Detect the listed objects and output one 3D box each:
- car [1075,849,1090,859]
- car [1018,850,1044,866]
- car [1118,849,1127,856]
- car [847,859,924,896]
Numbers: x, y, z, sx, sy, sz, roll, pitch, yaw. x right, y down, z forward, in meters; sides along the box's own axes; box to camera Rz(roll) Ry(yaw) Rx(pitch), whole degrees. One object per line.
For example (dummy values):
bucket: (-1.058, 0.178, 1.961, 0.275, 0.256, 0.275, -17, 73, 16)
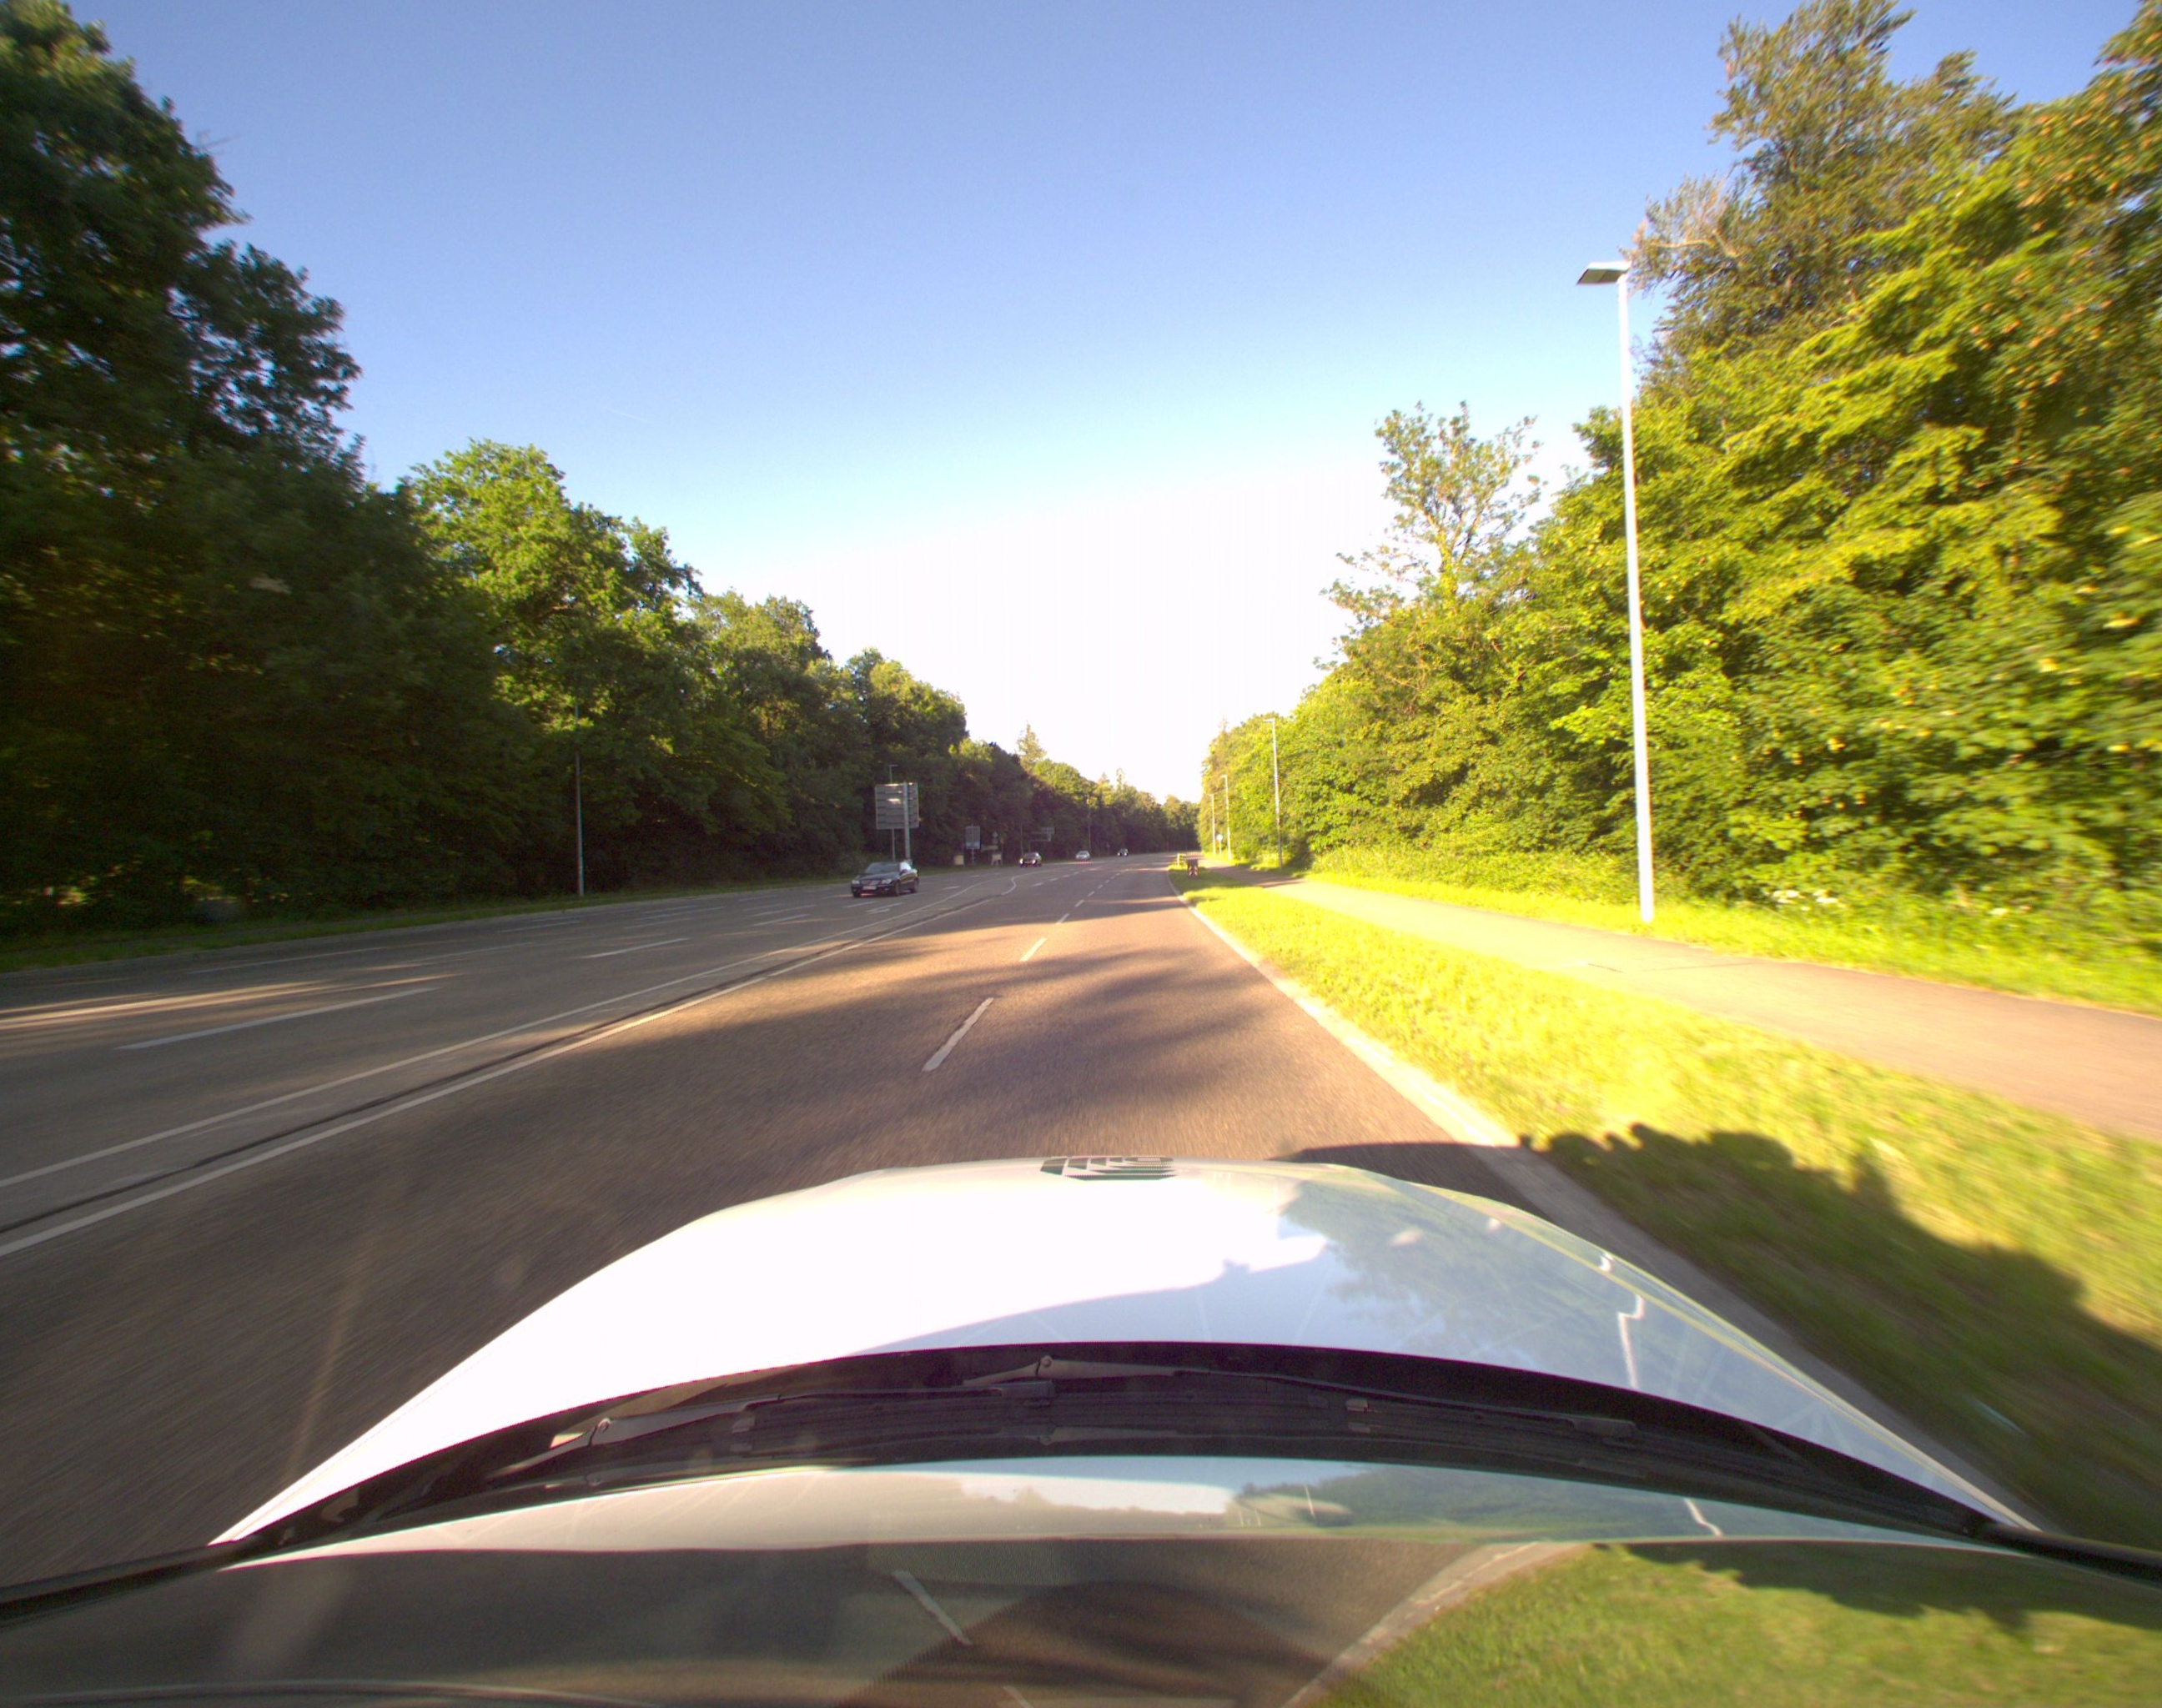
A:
car: (0.206, 0.035, 127.707, 1.815, 1.504, 4.315, -1, 0, 7)
car: (-5.300, 0.382, 86.490, 1.814, 1.544, 4.267, -2, 0, 9)
car: (9.273, -0.378, 181.454, 1.815, 1.589, 4.360, -1, 0, 7)
car: (-7.678, 0.893, 32.449, 1.737, 1.234, 4.675, -2, 0, 2)
